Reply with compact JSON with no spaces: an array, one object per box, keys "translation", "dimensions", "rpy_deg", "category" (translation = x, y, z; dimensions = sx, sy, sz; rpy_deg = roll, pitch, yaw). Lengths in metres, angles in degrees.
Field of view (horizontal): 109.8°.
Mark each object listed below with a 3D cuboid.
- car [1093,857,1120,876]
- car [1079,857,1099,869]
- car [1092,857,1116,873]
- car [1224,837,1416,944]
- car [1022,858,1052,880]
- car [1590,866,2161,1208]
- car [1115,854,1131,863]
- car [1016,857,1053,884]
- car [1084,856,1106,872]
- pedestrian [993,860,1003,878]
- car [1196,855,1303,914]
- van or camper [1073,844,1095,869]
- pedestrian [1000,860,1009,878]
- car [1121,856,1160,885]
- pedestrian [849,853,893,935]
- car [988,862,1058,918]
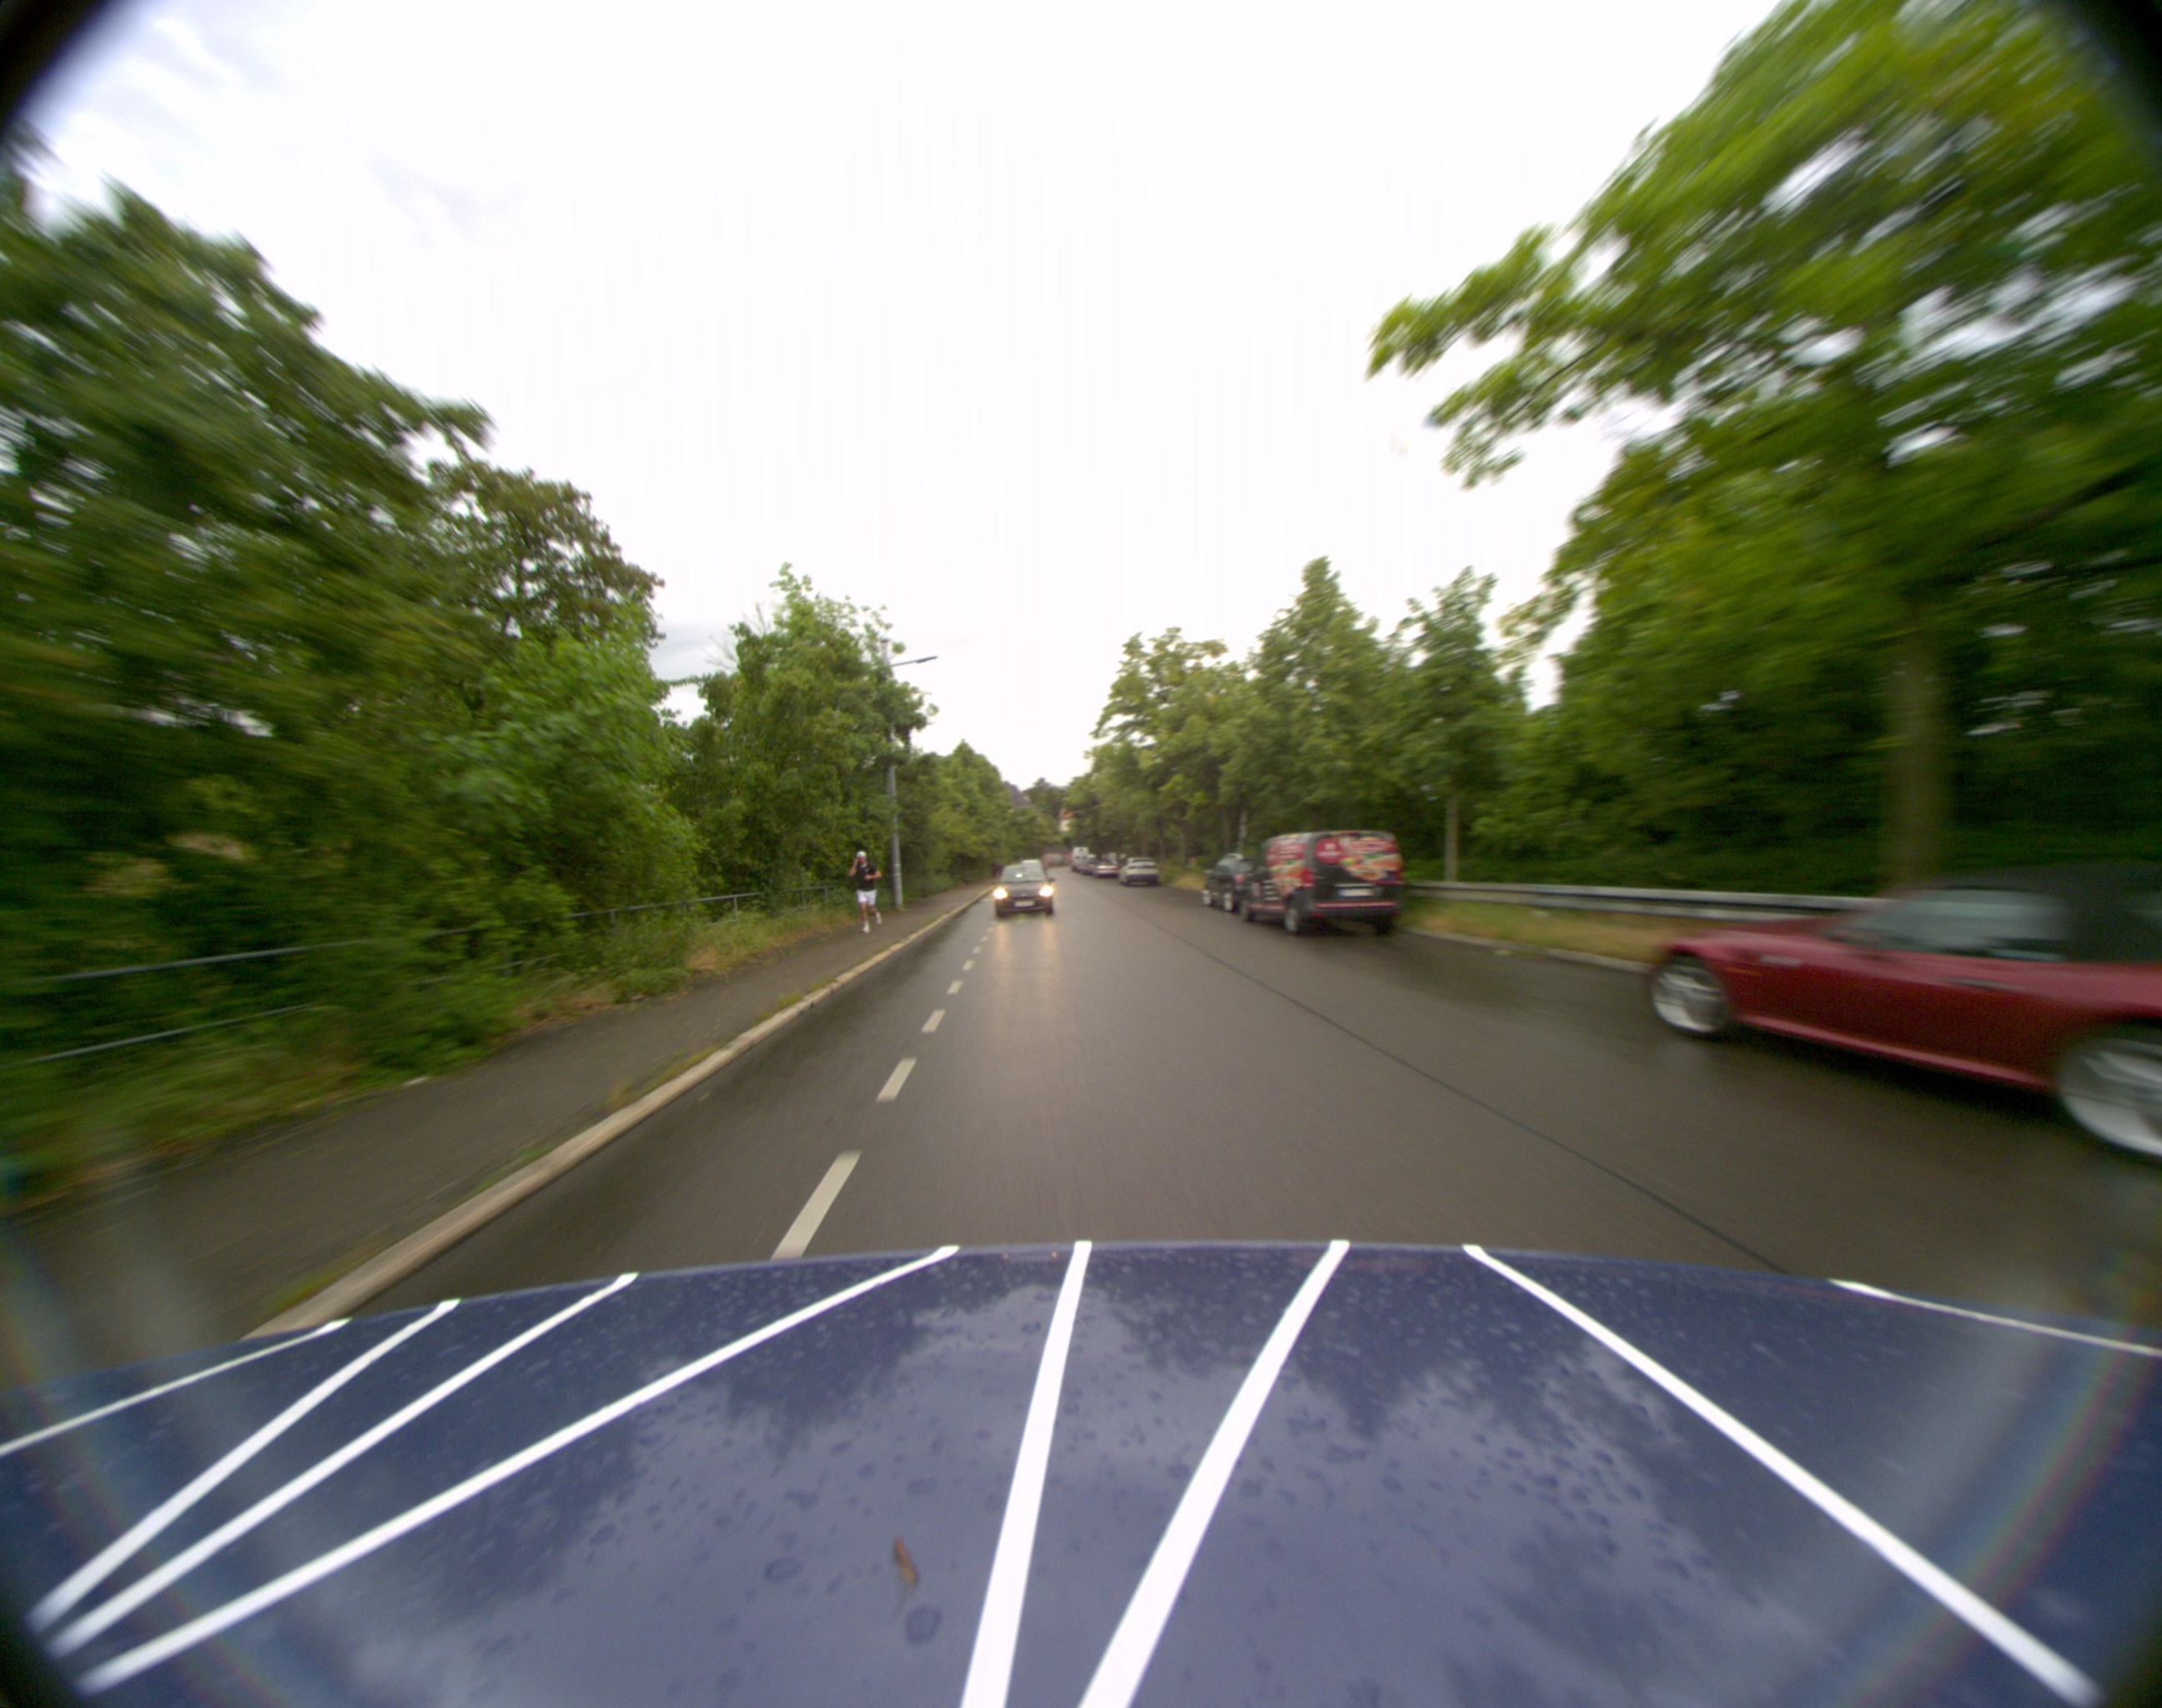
[{"translation":[1.962,0.970,60.226],"dimensions":[1.759,1.394,4.417],"rpy_deg":[-1,1,-3],"category":"car"},{"translation":[0.883,1.049,86.205],"dimensions":[1.999,1.301,5.355],"rpy_deg":[0,-1,-2],"category":"car"},{"translation":[2.052,0.978,69.908],"dimensions":[1.999,1.397,4.713],"rpy_deg":[0,0,-1],"category":"car"},{"translation":[4.640,0.609,15.818],"dimensions":[2.089,1.809,5.379],"rpy_deg":[-1,1,-2],"category":"car"},{"translation":[-3.490,1.144,60.760],"dimensions":[2.030,1.619,4.228],"rpy_deg":[-2,0,1],"category":"car"},{"translation":[5.337,0.789,4.419],"dimensions":[1.794,1.289,4.324],"rpy_deg":[-1,1,-1],"category":"car"},{"translation":[7.503,0.824,134.607],"dimensions":[1.685,1.501,4.211],"rpy_deg":[2,2,19],"category":"car"},{"translation":[-2.793,0.970,46.529],"dimensions":[2.031,1.454,3.999],"rpy_deg":[-3,0,-1],"category":"car"},{"translation":[1.339,0.974,75.484],"dimensions":[1.999,1.397,4.713],"rpy_deg":[0,0,-1],"category":"car"},{"translation":[-7.445,1.324,68.004],"dimensions":[0.596,1.557,0.670],"rpy_deg":[2,2,16],"category":"pedestrian"},{"translation":[4.626,0.772,21.527],"dimensions":[1.803,1.429,4.254],"rpy_deg":[-1,1,-4],"category":"car"},{"translation":[0.342,0.258,96.946],"dimensions":[2.512,3.009,6.559],"rpy_deg":[-1,1,-3],"category":"van or camper"},{"translation":[-6.796,1.336,67.673],"dimensions":[0.552,1.557,0.487],"rpy_deg":[2,1,19],"category":"pedestrian"},{"translation":[3.148,0.859,41.137],"dimensions":[1.693,1.429,4.255],"rpy_deg":[0,1,-1],"category":"car"},{"translation":[-4.778,0.885,17.364],"dimensions":[0.718,1.824,1.021],"rpy_deg":[0,0,-1],"category":"pedestrian"},{"translation":[-1.763,1.056,23.110],"dimensions":[1.805,1.418,4.382],"rpy_deg":[-4,-1,-5],"category":"car"}]
